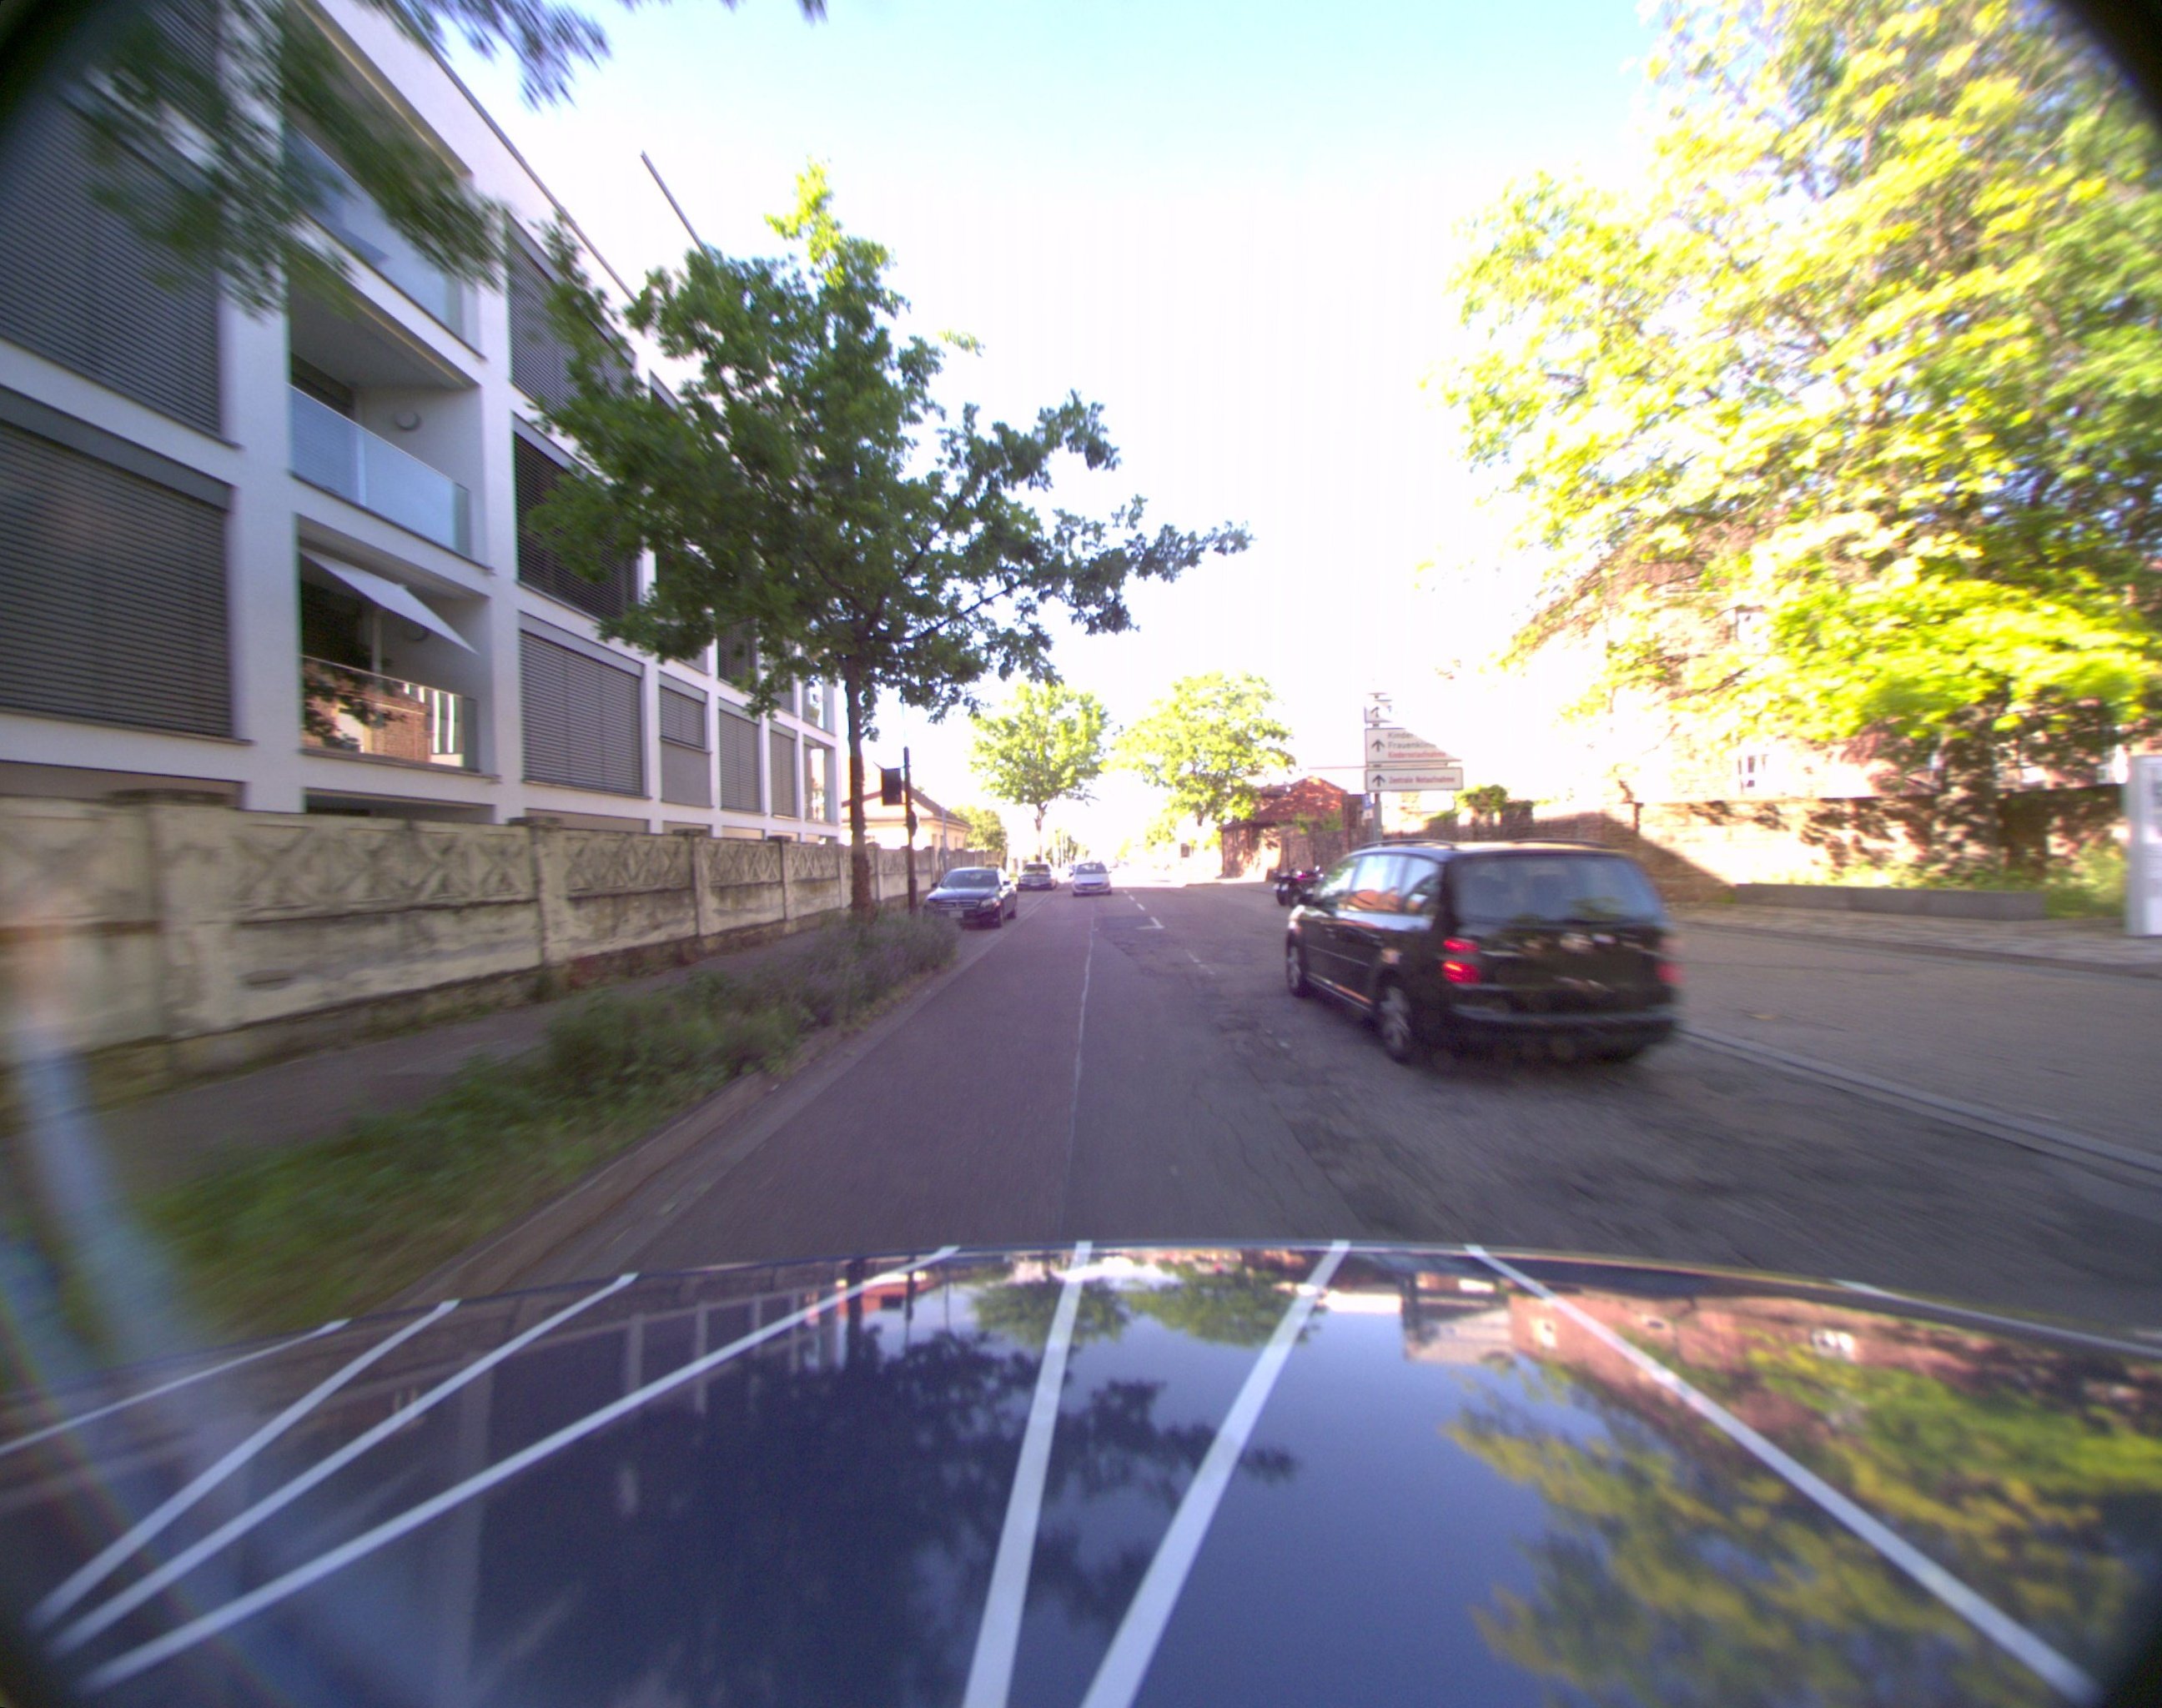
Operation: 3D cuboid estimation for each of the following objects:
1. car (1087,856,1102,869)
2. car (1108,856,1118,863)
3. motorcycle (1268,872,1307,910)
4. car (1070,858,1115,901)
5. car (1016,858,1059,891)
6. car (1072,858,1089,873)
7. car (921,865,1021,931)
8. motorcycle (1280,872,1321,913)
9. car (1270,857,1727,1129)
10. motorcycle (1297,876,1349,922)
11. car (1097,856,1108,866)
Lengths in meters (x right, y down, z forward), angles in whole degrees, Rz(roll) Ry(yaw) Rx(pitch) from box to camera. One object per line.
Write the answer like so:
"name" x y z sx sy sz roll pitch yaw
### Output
"car" 1.924 1.223 108.954 1.998 1.668 4.000 -2 0 1
"car" 7.121 1.233 169.006 1.998 1.406 4.000 -1 0 1
"motorcycle" 6.438 1.135 23.662 0.530 1.033 2.095 -3 0 32
"car" 0.552 1.047 33.032 1.747 1.613 4.107 -3 0 2
"car" -2.273 1.070 41.010 1.887 1.592 4.299 -3 0 1
"car" -0.068 1.195 80.244 1.757 1.459 3.486 -3 0 0
"car" -2.683 1.034 19.559 1.724 1.402 4.763 -2 0 2
"motorcycle" 6.422 1.104 22.142 0.530 1.033 2.095 -3 0 32
"car" 2.981 0.834 6.516 1.648 1.602 4.020 0 0 -1
"motorcycle" 6.124 1.110 19.181 0.599 1.026 2.132 -2 0 35
"car" 4.100 1.286 144.785 1.834 1.732 4.000 -3 0 1
